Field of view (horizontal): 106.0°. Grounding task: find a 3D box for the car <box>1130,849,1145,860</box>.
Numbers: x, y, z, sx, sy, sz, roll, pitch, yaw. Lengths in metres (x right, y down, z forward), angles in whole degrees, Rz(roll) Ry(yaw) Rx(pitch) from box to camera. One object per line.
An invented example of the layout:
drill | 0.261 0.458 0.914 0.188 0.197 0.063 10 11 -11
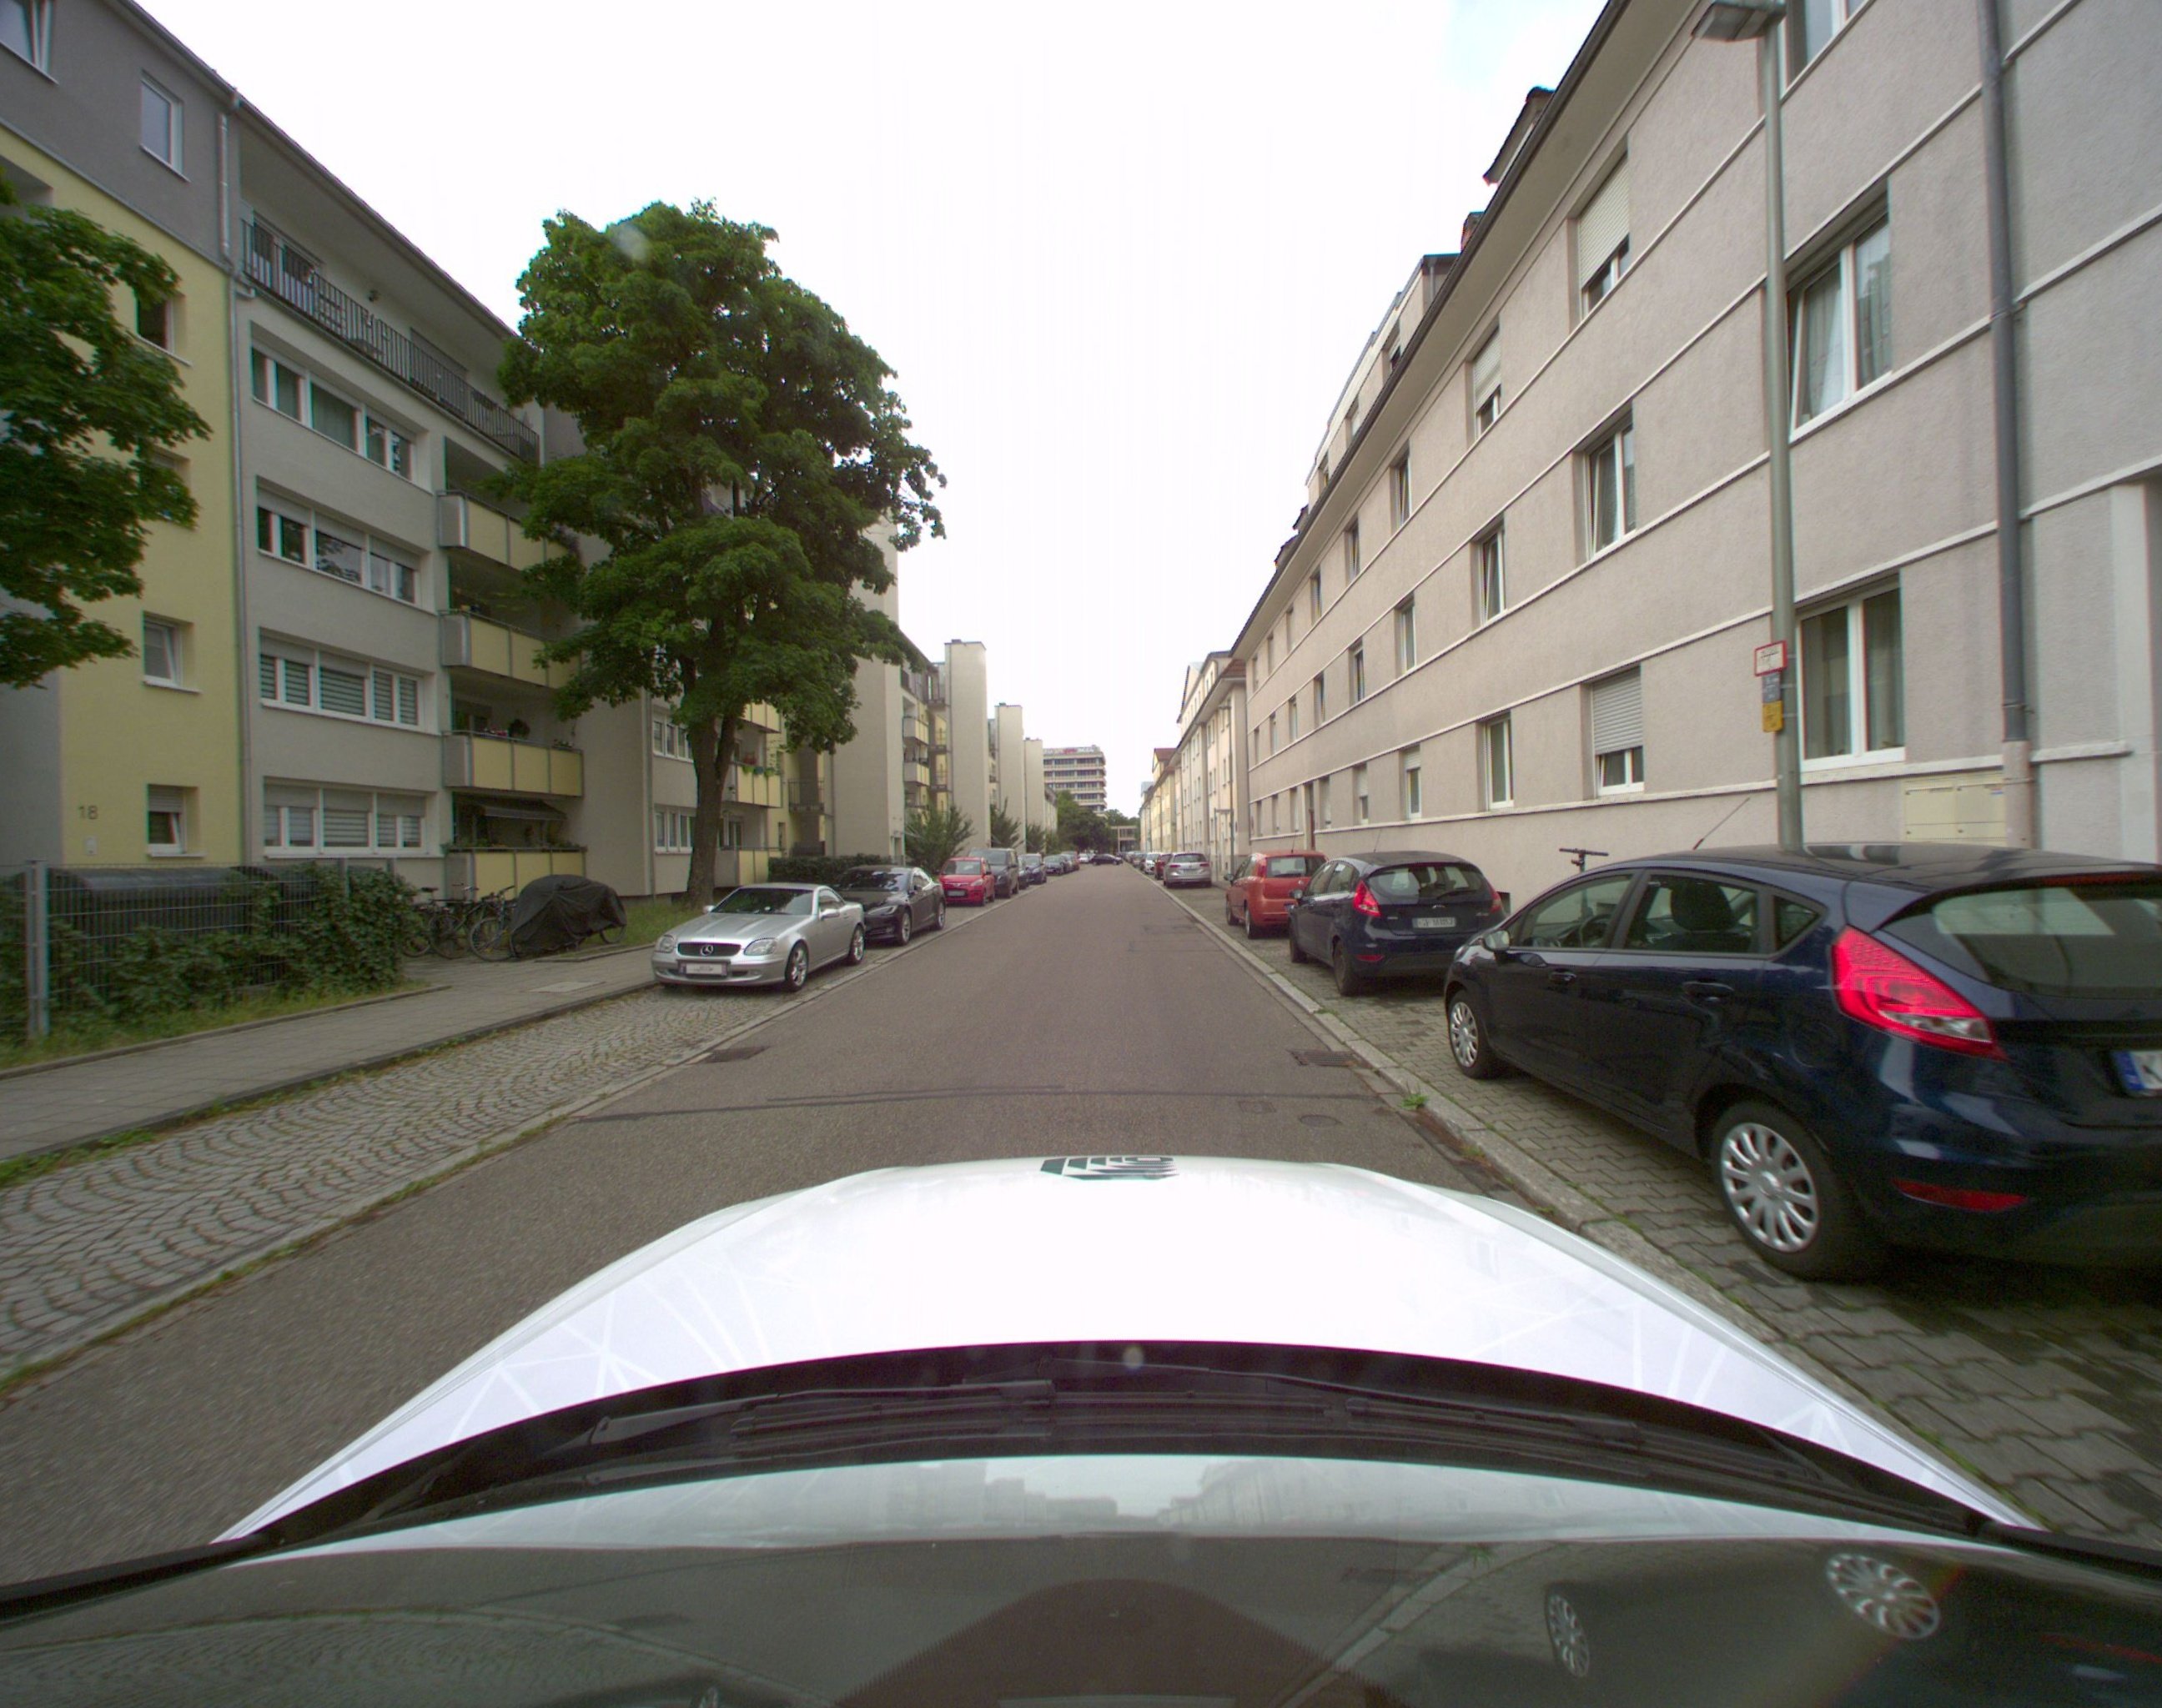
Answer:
car | 7.751 0.055 112.299 1.986 1.398 4.002 1 0 2

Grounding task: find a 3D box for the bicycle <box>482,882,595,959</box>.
bicycle | -8.787 1.039 13.279 0.549 1.101 1.776 -1 0 3

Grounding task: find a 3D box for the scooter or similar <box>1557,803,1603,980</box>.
scooter or similar | 5.916 0.428 9.651 0.342 2.013 0.682 1 0 41

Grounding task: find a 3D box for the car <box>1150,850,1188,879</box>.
car | 4.719 0.535 44.263 1.664 1.420 4.001 -4 0 1

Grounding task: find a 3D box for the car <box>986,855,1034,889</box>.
car | -3.309 0.822 38.676 1.824 1.459 4.260 -1 0 1

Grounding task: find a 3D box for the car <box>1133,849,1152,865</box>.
car | 6.346 0.267 84.917 1.812 1.577 3.886 -1 0 2

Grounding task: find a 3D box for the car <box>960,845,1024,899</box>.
car | -3.371 0.630 31.691 1.873 1.903 5.031 1 0 0

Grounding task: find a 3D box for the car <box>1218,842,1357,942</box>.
car | 3.642 0.595 15.028 1.690 1.525 3.828 -3 0 2

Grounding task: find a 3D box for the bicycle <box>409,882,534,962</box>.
bicycle | -9.654 1.042 12.983 0.549 1.101 1.776 -1 0 3

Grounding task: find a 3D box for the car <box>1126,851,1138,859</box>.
car | 8.918 0.120 141.906 1.986 1.398 4.002 1 0 2

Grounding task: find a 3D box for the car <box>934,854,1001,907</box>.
car | -3.645 0.813 26.651 1.557 1.568 3.643 1 0 1

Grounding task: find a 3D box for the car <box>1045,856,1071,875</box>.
car | -1.709 0.863 61.893 1.665 1.351 3.819 -1 0 2

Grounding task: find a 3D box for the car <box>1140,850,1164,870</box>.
car | 5.898 0.456 68.064 1.812 1.577 3.754 -1 0 2

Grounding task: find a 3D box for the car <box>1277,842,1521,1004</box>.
car | 3.450 0.642 9.548 1.560 1.473 3.700 -3 0 3

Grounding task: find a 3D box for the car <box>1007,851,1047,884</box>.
car | -2.879 0.696 44.090 1.763 1.643 4.355 -1 0 1

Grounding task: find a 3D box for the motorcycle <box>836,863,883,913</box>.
motorcycle | -6.441 0.960 23.792 0.675 1.356 2.230 1 0 2

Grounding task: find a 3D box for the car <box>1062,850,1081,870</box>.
car | -0.941 0.604 84.017 1.665 1.938 3.744 -1 0 2

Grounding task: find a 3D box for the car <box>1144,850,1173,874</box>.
car | 5.305 0.530 56.205 1.812 1.504 3.754 -1 0 2

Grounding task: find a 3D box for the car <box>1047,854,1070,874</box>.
car | -1.822 0.822 67.236 1.665 1.564 3.666 -1 0 2

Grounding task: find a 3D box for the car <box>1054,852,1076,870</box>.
car | -1.429 0.639 73.764 1.665 1.526 4.255 -1 0 2

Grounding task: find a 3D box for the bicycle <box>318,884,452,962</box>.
bicycle | -11.224 1.083 13.214 0.549 1.101 1.776 -1 0 3

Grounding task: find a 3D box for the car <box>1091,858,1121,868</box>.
car | 3.184 1.136 104.431 3.708 1.214 1.547 -1 0 7

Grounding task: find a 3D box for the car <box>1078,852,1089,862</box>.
car | 0.350 0.478 124.945 1.533 1.450 3.744 -1 0 2

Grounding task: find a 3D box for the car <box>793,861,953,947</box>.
car | -3.969 0.886 16.398 1.834 1.421 4.632 0 0 2

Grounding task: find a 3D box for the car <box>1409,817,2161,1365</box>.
car | 3.154 0.630 4.153 1.560 1.478 3.874 -2 0 3

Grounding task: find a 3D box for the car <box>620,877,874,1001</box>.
car | -4.289 1.020 11.211 1.690 1.258 4.018 0 0 2

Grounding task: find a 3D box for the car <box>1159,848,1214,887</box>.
car | 4.317 0.508 33.991 1.749 1.467 4.601 -1 0 1

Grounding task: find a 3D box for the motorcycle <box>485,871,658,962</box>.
motorcycle | -8.071 0.925 13.161 0.678 1.223 3.070 -1 0 4

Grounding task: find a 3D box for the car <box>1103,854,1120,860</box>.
car | 7.434 0.670 197.331 3.971 1.486 2.001 1 0 2
